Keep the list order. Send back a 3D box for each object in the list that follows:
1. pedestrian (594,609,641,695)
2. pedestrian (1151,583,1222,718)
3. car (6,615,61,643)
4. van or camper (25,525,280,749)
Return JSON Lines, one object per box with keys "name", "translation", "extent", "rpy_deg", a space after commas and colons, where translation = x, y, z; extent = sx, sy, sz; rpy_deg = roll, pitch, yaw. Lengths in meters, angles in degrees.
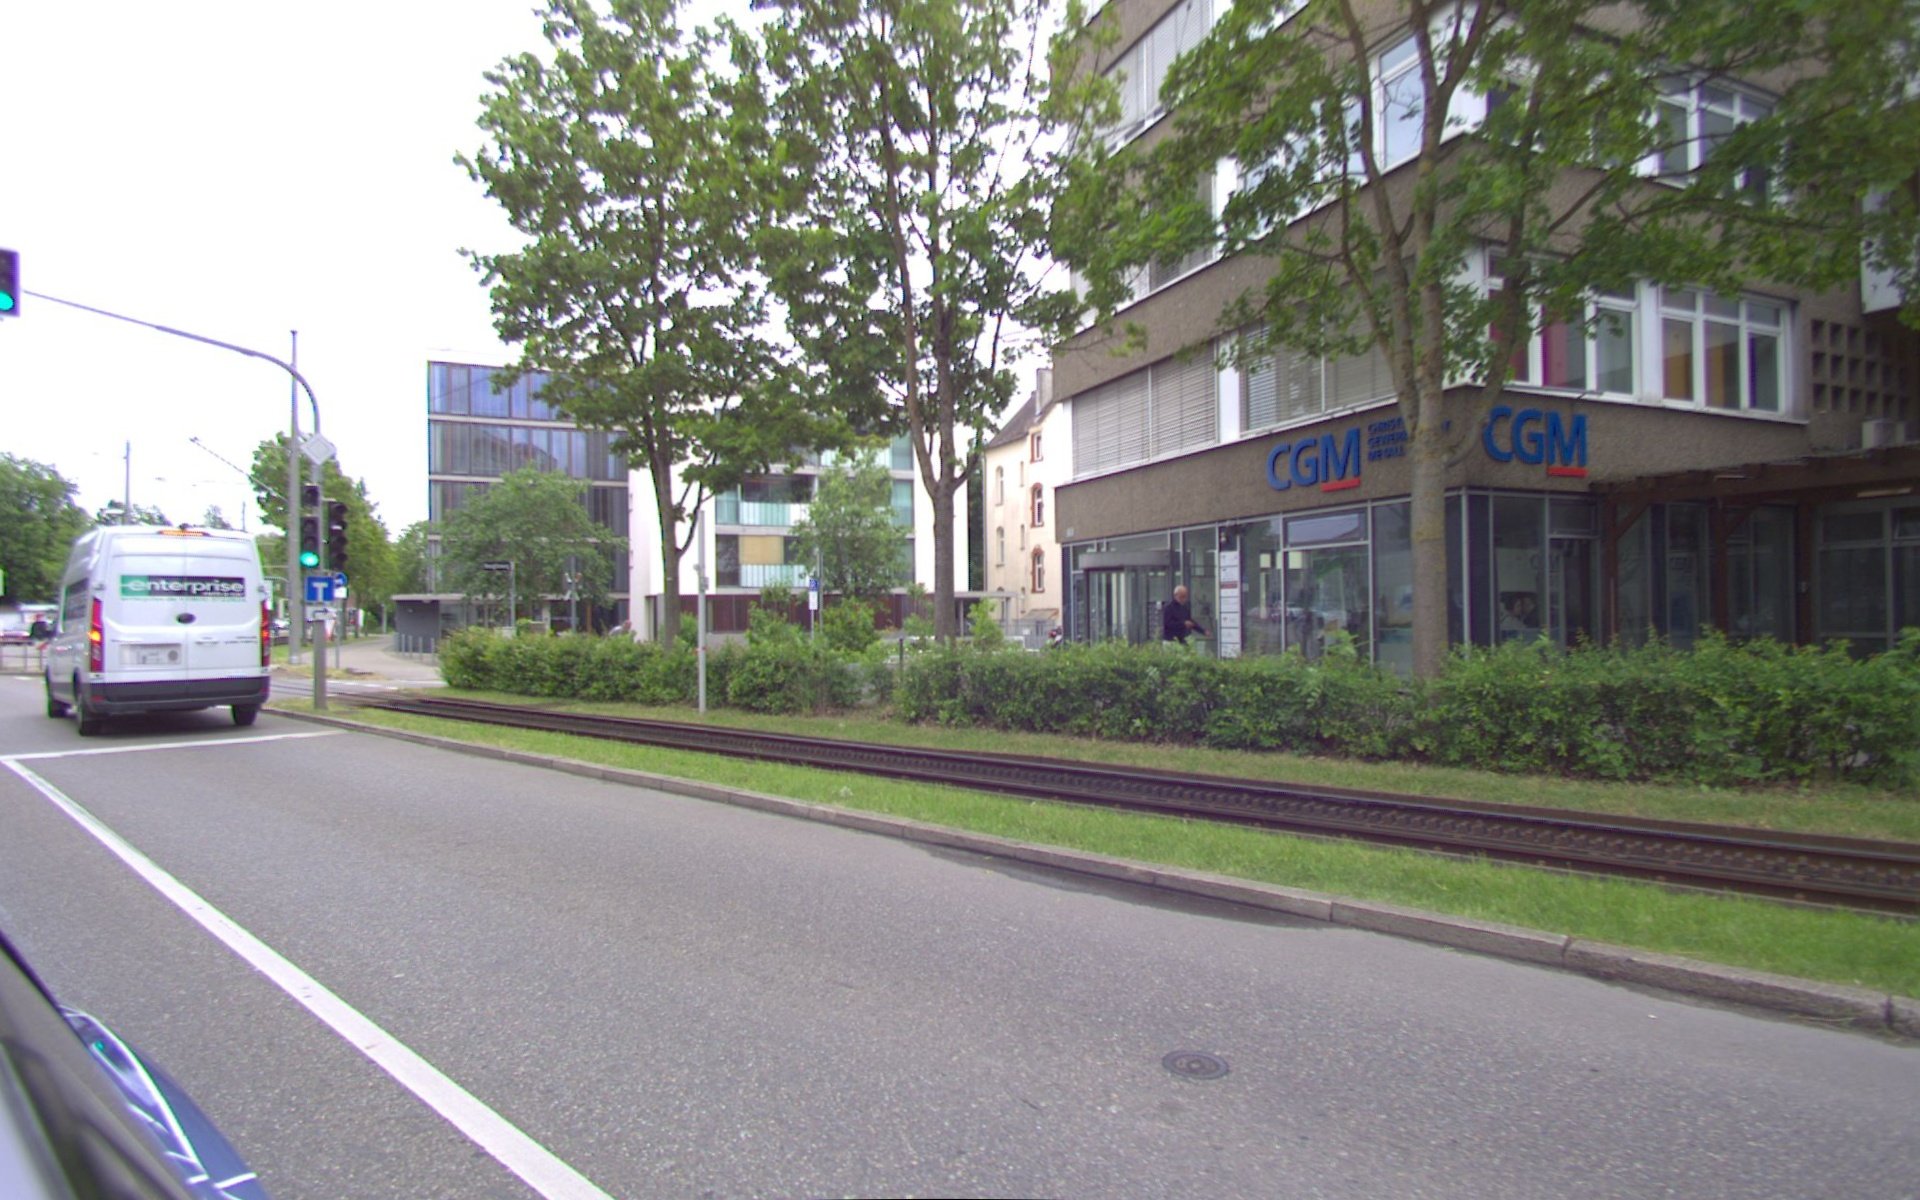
{"name": "pedestrian", "translation": [-7.441, 1.118, 21.981], "extent": [0.730, 1.819, 0.672], "rpy_deg": [-1, 0, 36]}
{"name": "pedestrian", "translation": [3.317, 0.712, 14.819], "extent": [0.731, 1.908, 0.766], "rpy_deg": [-1, 0, 40]}
{"name": "car", "translation": [-70.599, 2.168, 77.178], "extent": [1.965, 2.029, 4.013], "rpy_deg": [-1, 0, -25]}
{"name": "van or camper", "translation": [-12.395, 0.477, 15.325], "extent": [6.151, 2.754, 2.085], "rpy_deg": [-1, 0, 43]}
